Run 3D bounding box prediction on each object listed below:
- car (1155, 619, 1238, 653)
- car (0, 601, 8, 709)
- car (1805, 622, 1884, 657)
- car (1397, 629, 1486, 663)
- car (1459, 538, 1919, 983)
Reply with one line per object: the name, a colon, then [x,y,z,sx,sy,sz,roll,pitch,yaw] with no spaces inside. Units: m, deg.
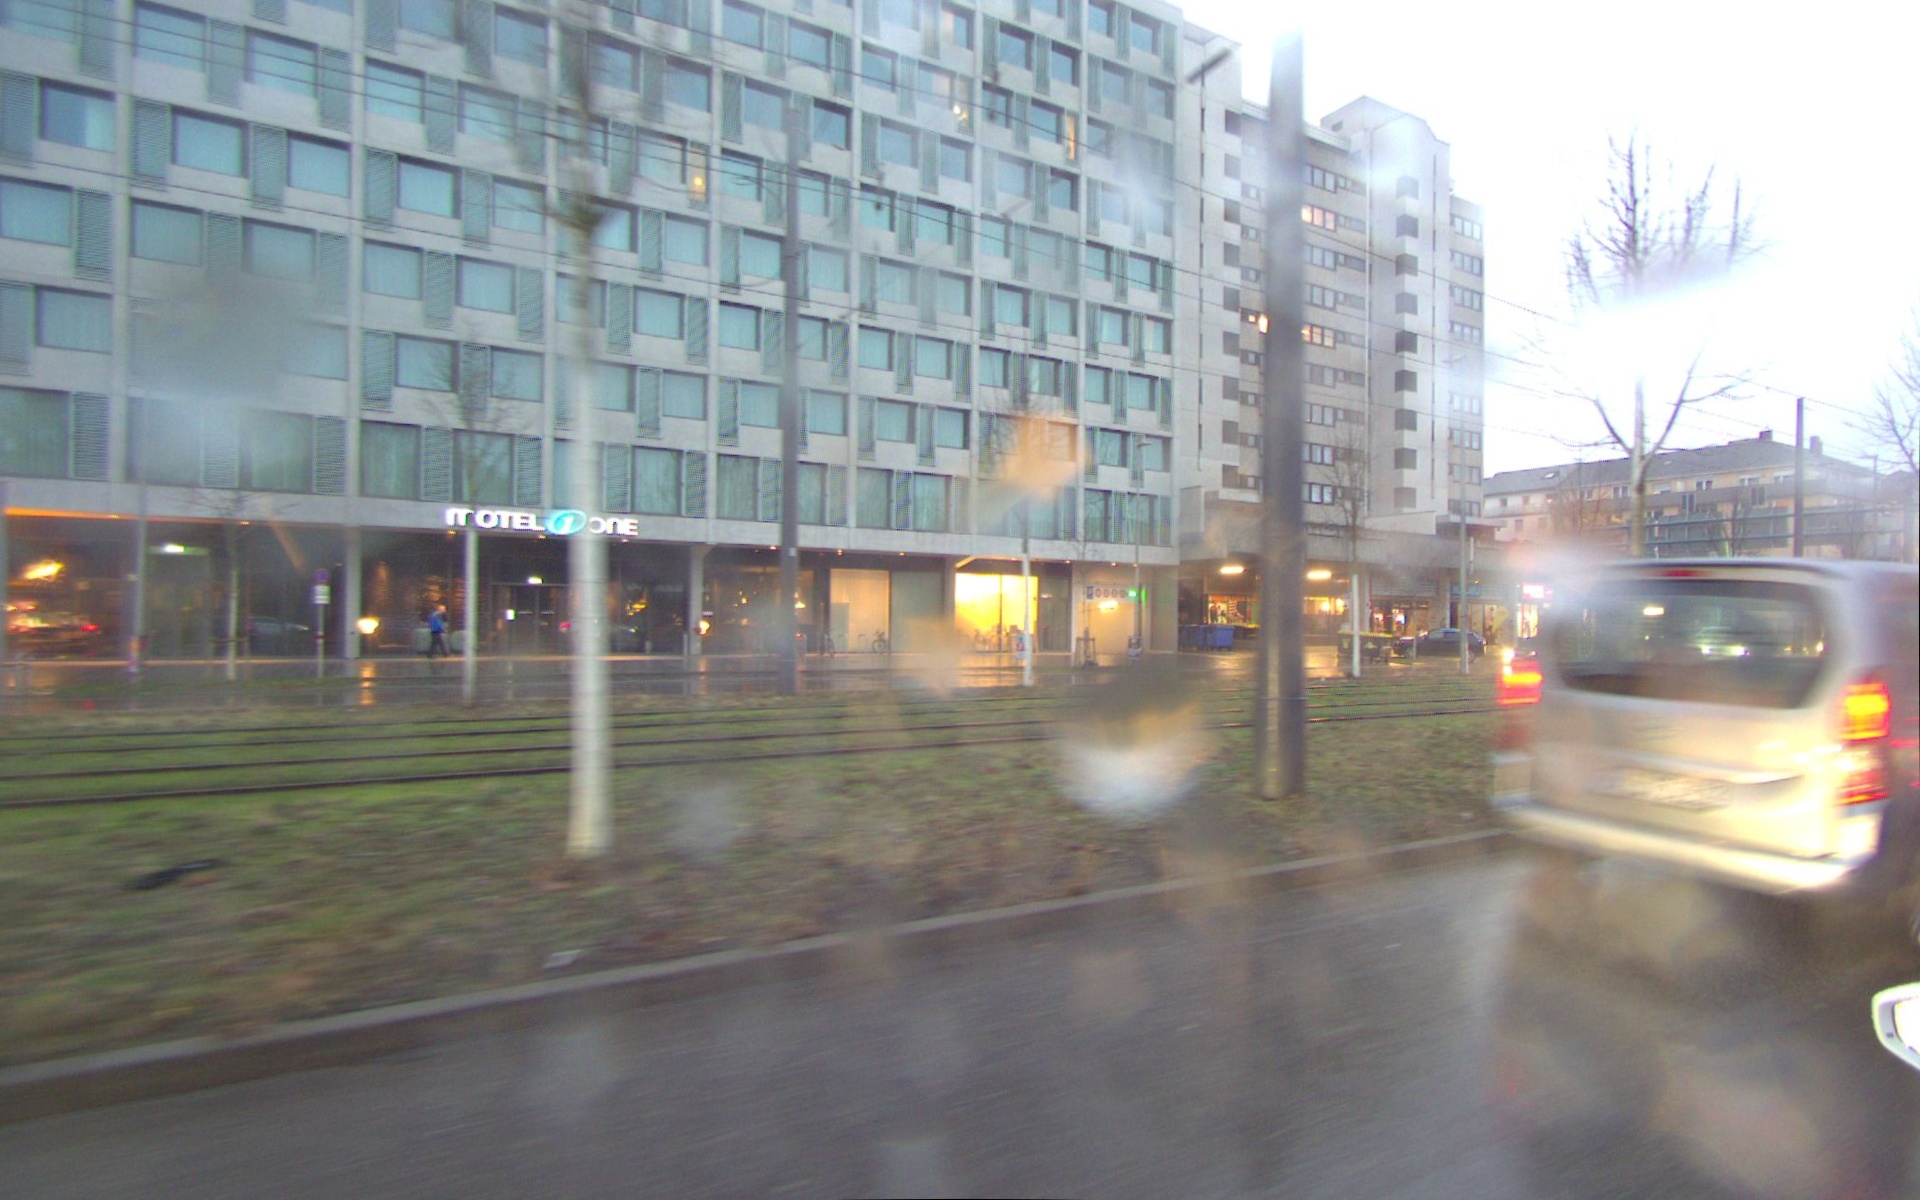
car: [12.425,1.864,53.035,1.709,1.718,4.336,1,-1,-32]
car: [-15.673,0.737,13.276,1.973,1.516,4.422,0,-1,44]
car: [46.203,2.051,52.449,5.064,1.742,1.884,1,-1,-34]
car: [24.465,2.312,51.136,3.925,1.405,1.935,3,1,26]
car: [5.145,0.683,5.873,4.483,1.759,1.785,2,0,-30]
